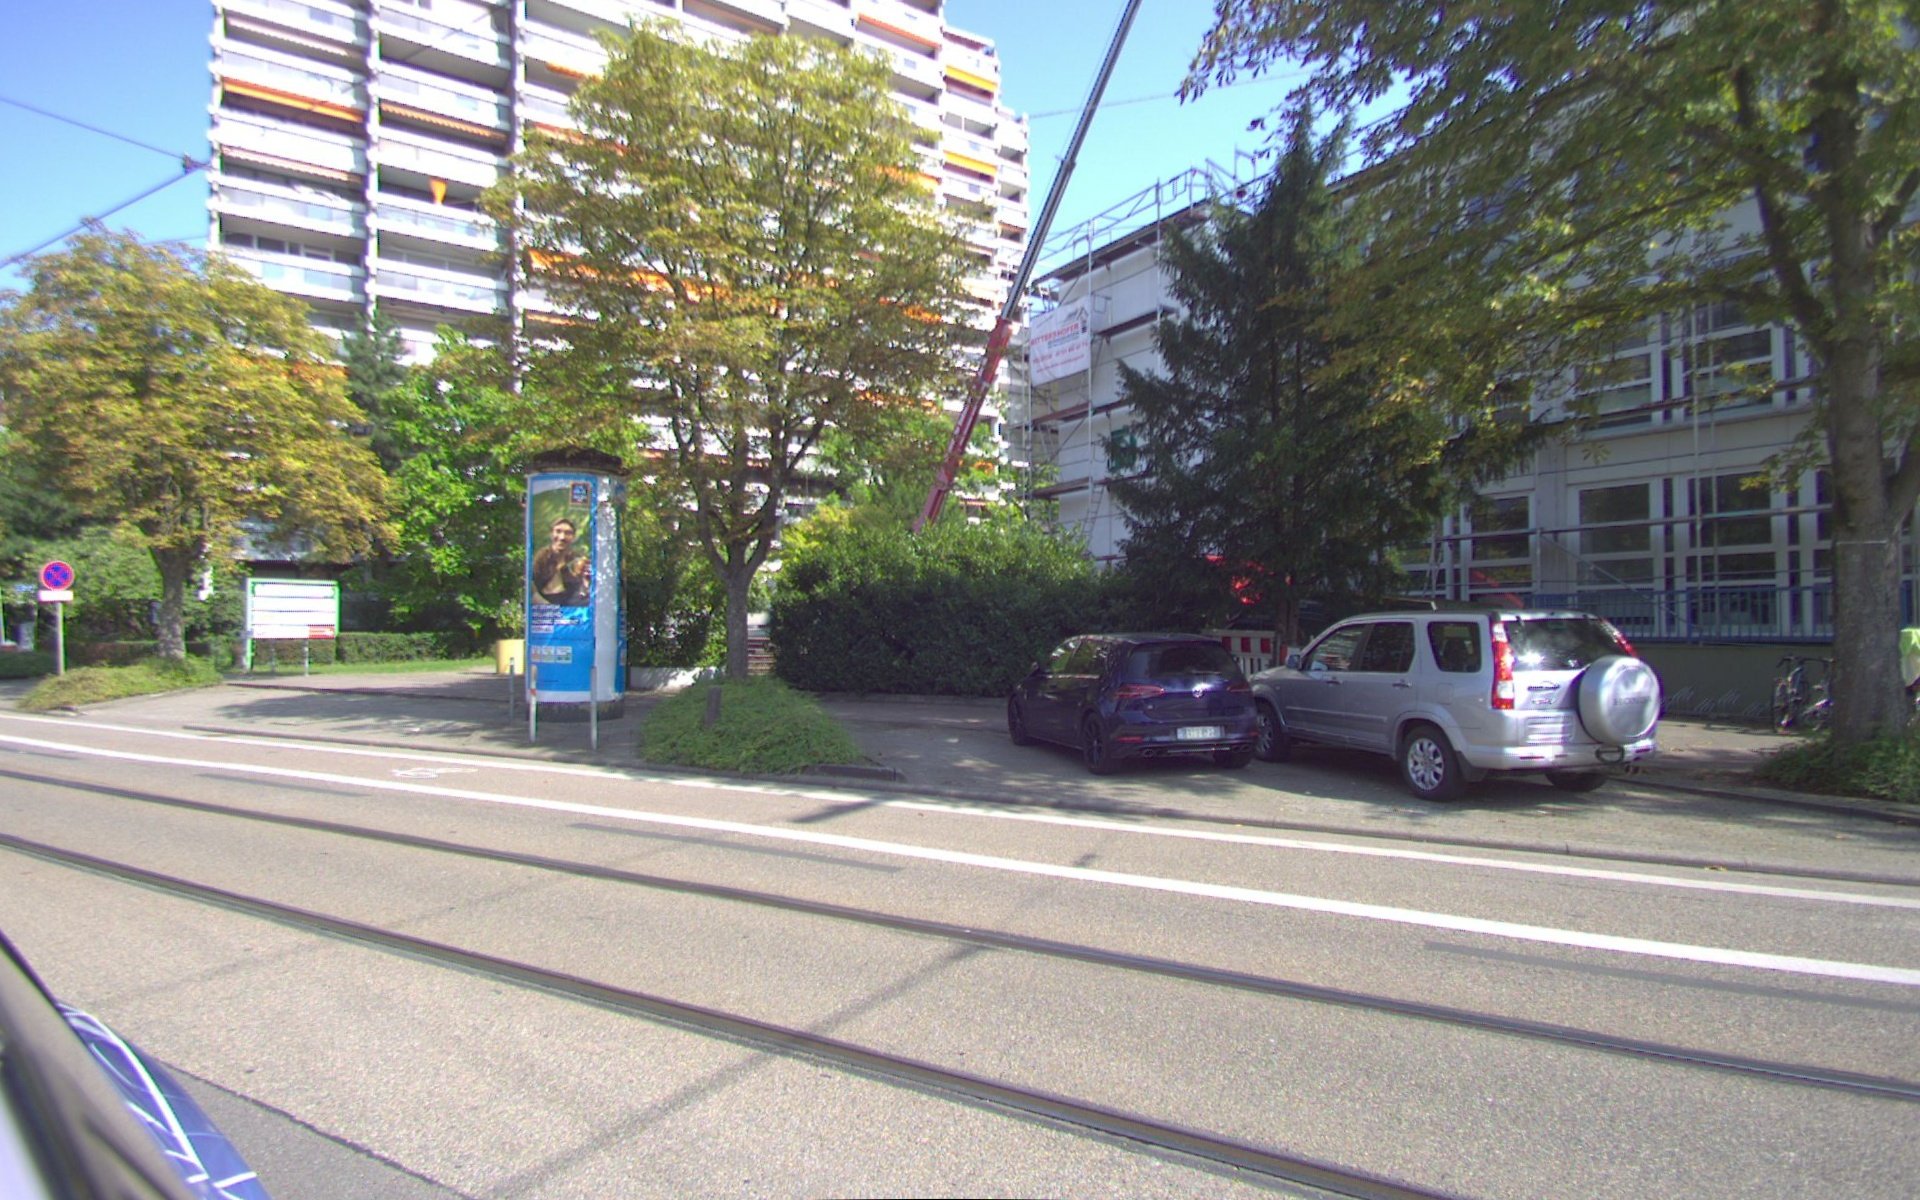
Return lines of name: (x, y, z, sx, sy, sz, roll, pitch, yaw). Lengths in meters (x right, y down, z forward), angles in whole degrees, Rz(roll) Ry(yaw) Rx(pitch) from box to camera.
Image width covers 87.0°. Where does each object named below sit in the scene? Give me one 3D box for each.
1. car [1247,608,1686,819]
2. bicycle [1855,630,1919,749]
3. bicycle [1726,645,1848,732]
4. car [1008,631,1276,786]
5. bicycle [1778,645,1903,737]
car: (4.601, 0.937, 9.905, 1.714, 1.634, 3.806, 0, -2, -15)
bicycle: (12.195, 1.076, 12.731, 2.391, 1.391, 0.588, 1, -2, -29)
bicycle: (11.609, 1.210, 14.184, 2.000, 1.143, 0.588, 1, -2, -29)
car: (1.866, 1.094, 11.646, 1.666, 1.453, 3.805, 0, -2, -13)
bicycle: (11.891, 1.193, 13.649, 2.000, 1.143, 0.588, 1, -2, -29)
